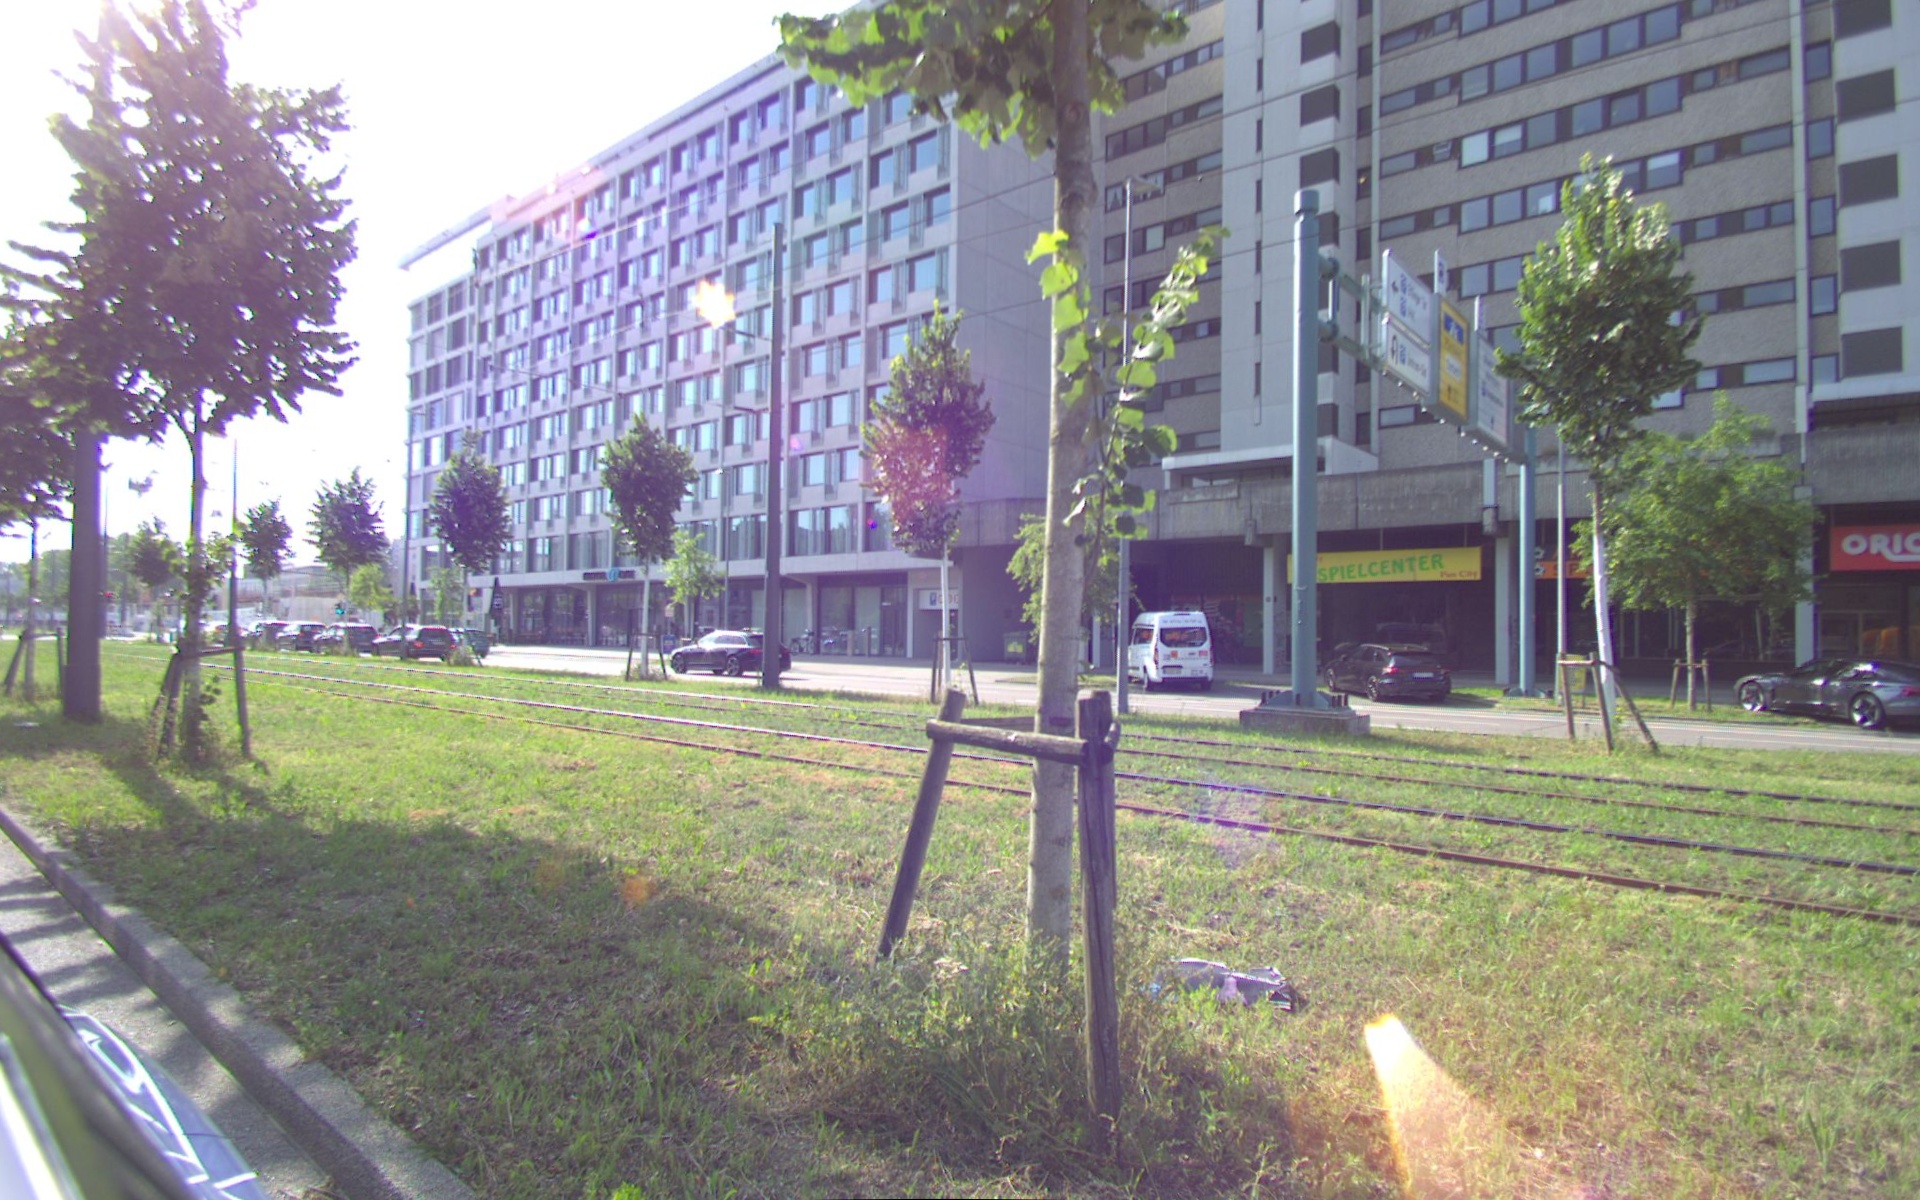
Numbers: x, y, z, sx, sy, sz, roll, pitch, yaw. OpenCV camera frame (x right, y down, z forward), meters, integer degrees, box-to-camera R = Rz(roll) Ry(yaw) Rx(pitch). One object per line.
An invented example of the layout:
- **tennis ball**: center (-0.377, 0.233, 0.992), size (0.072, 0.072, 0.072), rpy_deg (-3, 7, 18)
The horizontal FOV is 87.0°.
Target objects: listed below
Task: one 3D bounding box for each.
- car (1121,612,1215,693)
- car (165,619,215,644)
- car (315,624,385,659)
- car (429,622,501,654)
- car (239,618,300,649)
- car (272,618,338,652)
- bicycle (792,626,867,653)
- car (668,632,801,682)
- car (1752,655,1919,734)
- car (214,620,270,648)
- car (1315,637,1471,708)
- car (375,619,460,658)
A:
- **car**: center (6.429, 1.600, 31.875), size (1.858, 2.326, 5.407), rpy_deg (1, -2, 0)
- **car**: center (-48.844, 1.988, 64.164), size (3.998, 1.536, 1.764), rpy_deg (-1, -2, 41)
- **car**: center (-27.309, 1.852, 45.284), size (3.641, 1.498, 1.722), rpy_deg (-1, -2, 43)
- **car**: center (-25.277, 1.915, 51.614), size (4.000, 1.586, 1.972), rpy_deg (-1, -2, 43)
- **car**: center (-36.239, 1.744, 53.090), size (4.000, 1.586, 1.787), rpy_deg (-1, -2, 43)
- **car**: center (-32.074, 1.708, 49.535), size (4.000, 1.586, 1.787), rpy_deg (-1, -2, 43)
- **bicycle**: center (-6.900, 2.117, 53.713), size (3.937, 1.377, 1.128), rpy_deg (2, -2, -40)
- **car**: center (-7.457, 1.835, 33.269), size (4.415, 1.502, 1.974), rpy_deg (-1, -2, 39)
- **car**: center (18.816, 1.869, 20.800), size (1.853, 1.253, 4.110), rpy_deg (-1, 0, 1)
- **car**: center (-40.820, 1.917, 57.507), size (4.000, 1.486, 1.787), rpy_deg (-1, -2, 43)
- **car**: center (11.422, 1.864, 27.023), size (2.070, 1.594, 4.005), rpy_deg (-1, 0, -6)
- **car**: center (-21.633, 1.503, 40.324), size (4.000, 1.492, 1.787), rpy_deg (-1, -2, 43)
